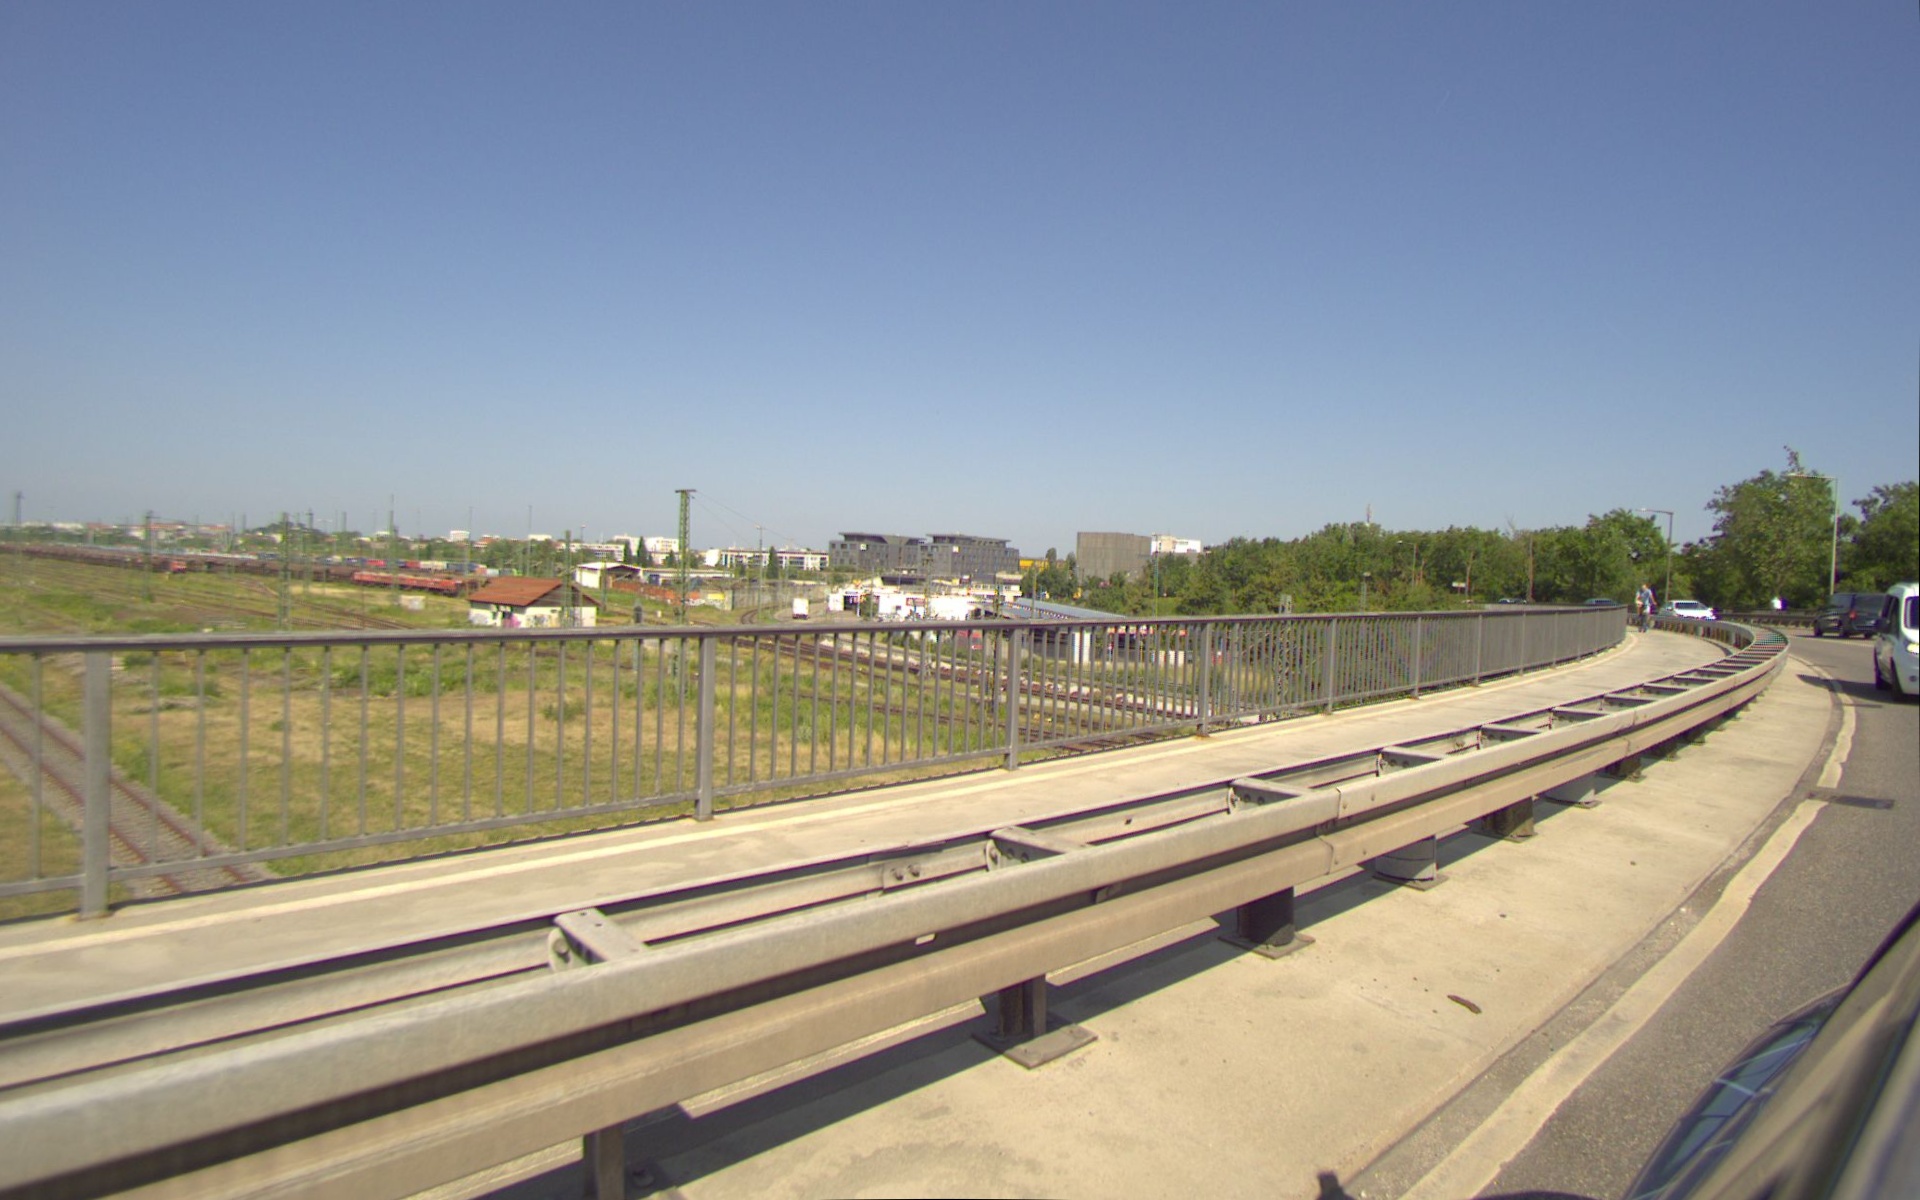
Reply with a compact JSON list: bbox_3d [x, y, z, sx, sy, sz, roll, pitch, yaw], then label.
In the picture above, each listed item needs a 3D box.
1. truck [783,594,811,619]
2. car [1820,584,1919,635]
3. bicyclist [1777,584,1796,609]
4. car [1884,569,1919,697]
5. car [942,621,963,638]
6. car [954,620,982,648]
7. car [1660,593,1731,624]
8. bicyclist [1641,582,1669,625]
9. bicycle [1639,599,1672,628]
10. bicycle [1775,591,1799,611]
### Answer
[{"bbox_3d":[-29.508,1.080,182.426,3.742,4.080,13.300,3,0,-14],"label":"truck"},{"bbox_3d":[37.019,0.365,40.896,2.061,1.912,5.860,1,0,26],"label":"car"},{"bbox_3d":[49.623,-0.205,60.760,0.604,1.456,1.068,3,2,27],"label":"bicyclist"},{"bbox_3d":[15.687,0.470,15.620,1.890,1.818,4.383,0,0,40],"label":"car"},{"bbox_3d":[-0.991,3.777,130.329,1.959,1.894,4.006,-4,1,-9],"label":"car"},{"bbox_3d":[0.906,3.895,117.803,2.261,2.695,5.389,-4,3,-9],"label":"car"},{"bbox_3d":[37.867,0.413,52.189,1.824,1.507,4.125,0,0,19],"label":"car"},{"bbox_3d":[25.962,0.118,37.809,0.654,1.538,0.796,4,1,26],"label":"bicyclist"},{"bbox_3d":[25.939,0.499,37.772,0.698,1.032,1.829,5,1,26],"label":"bicycle"},{"bbox_3d":[49.567,0.082,60.682,0.608,1.149,2.129,4,2,27],"label":"bicycle"}]
